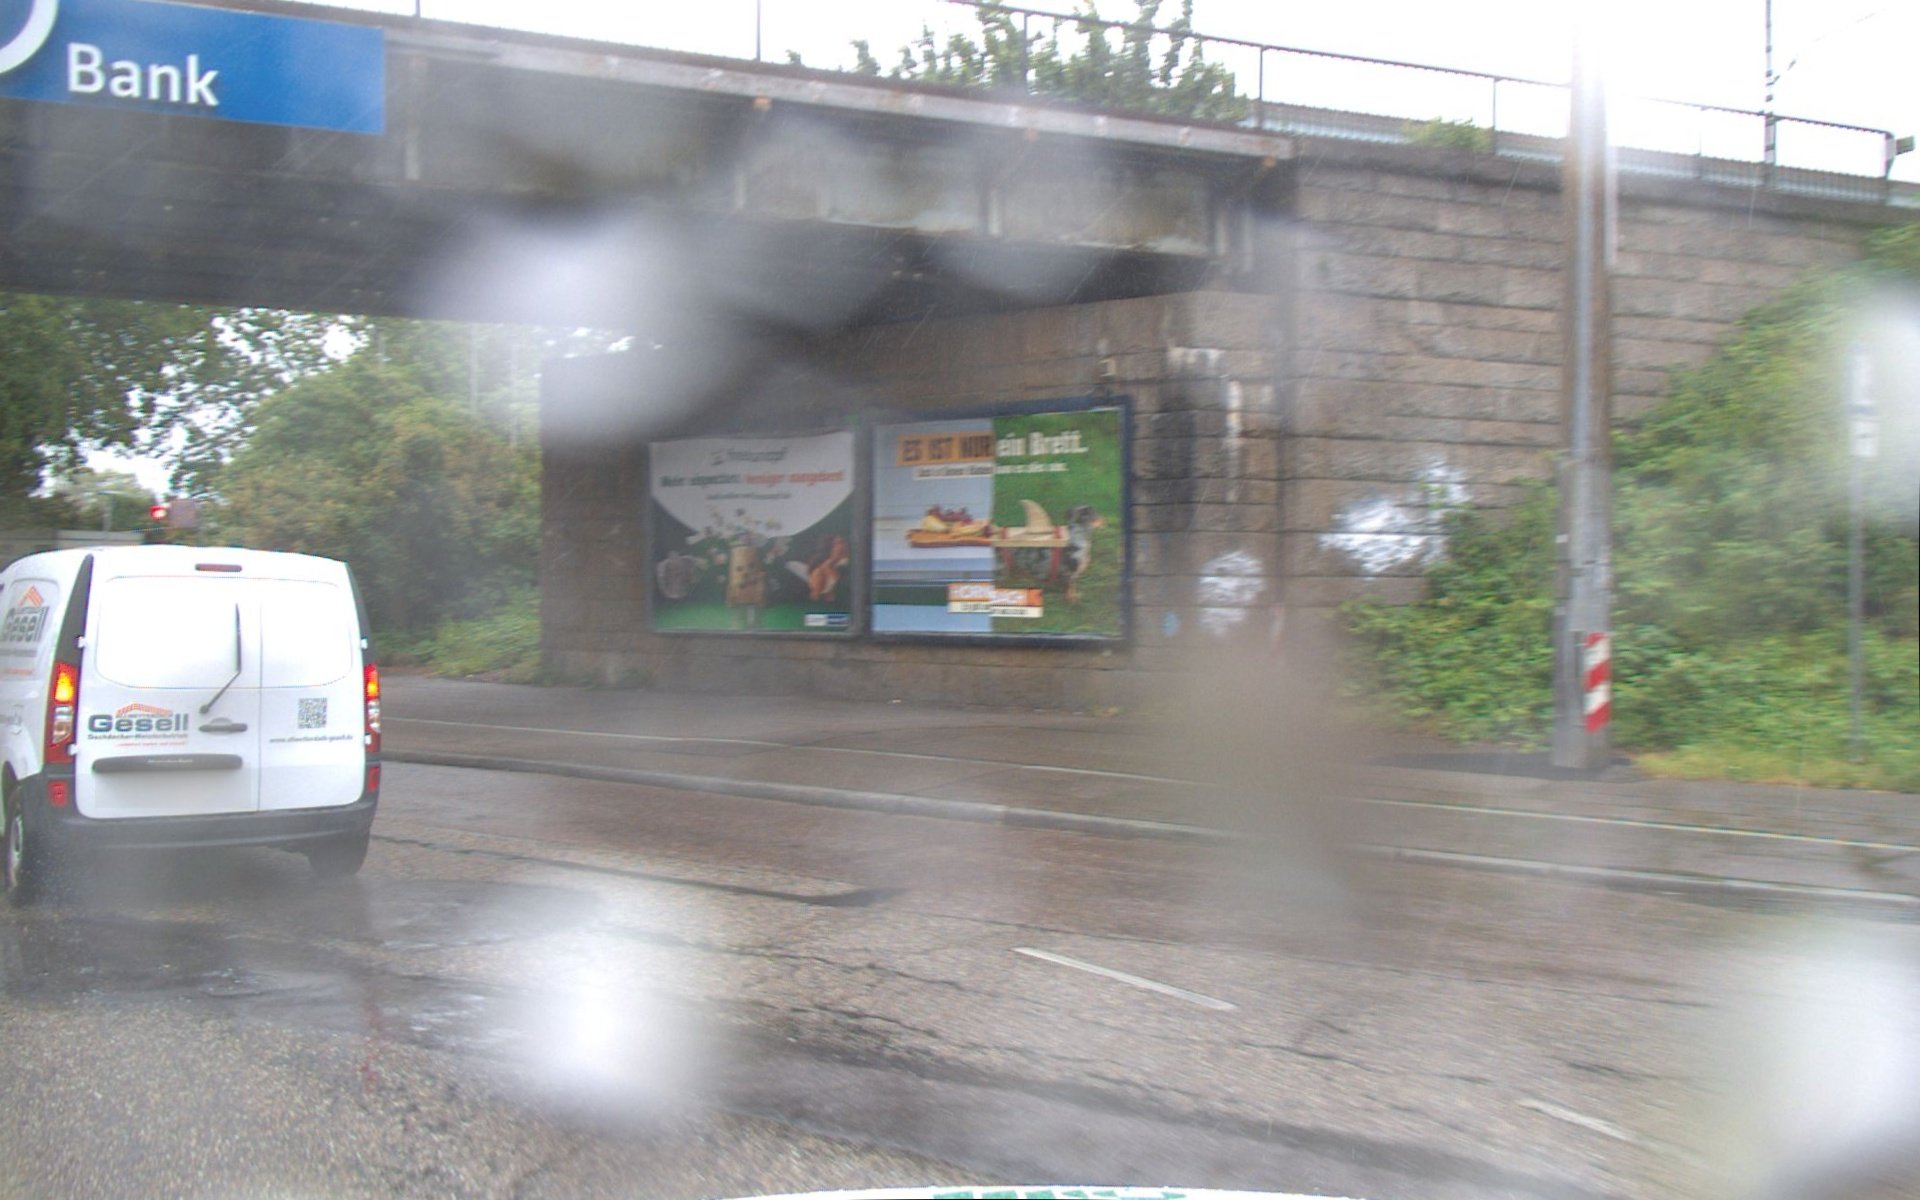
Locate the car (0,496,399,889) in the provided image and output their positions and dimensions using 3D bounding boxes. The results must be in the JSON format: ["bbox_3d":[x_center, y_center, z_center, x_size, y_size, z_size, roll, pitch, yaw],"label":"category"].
[{"bbox_3d":[-4.890,0.434,9.708,1.745,1.808,3.943,-2,0,-39],"label":"car"}]
